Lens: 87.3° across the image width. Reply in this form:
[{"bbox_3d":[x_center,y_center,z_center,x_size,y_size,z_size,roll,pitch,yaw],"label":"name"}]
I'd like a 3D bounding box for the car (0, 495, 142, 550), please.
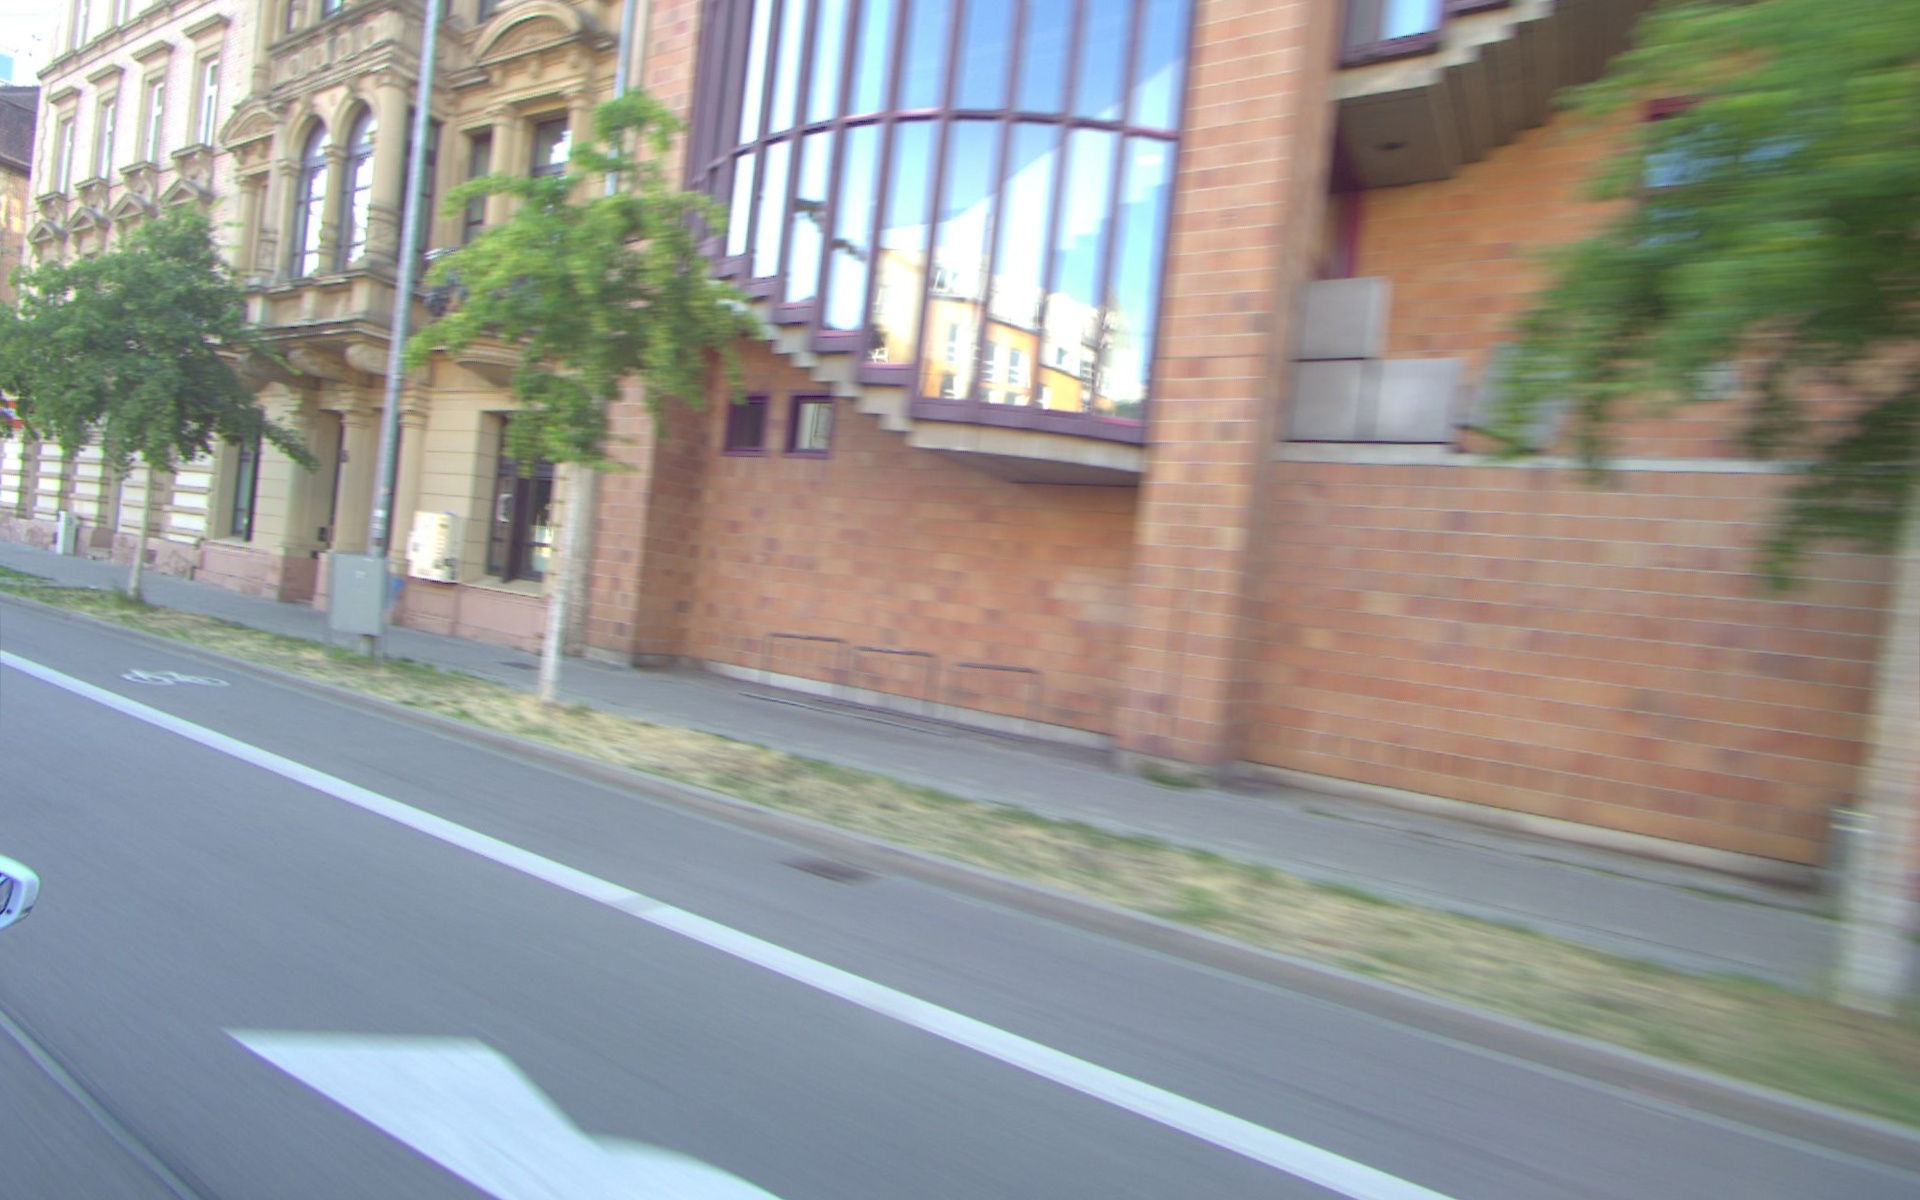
[{"bbox_3d":[-30.572,-2.614,34.083,1.588,1.405,4.153,5,0,20],"label":"car"}]
